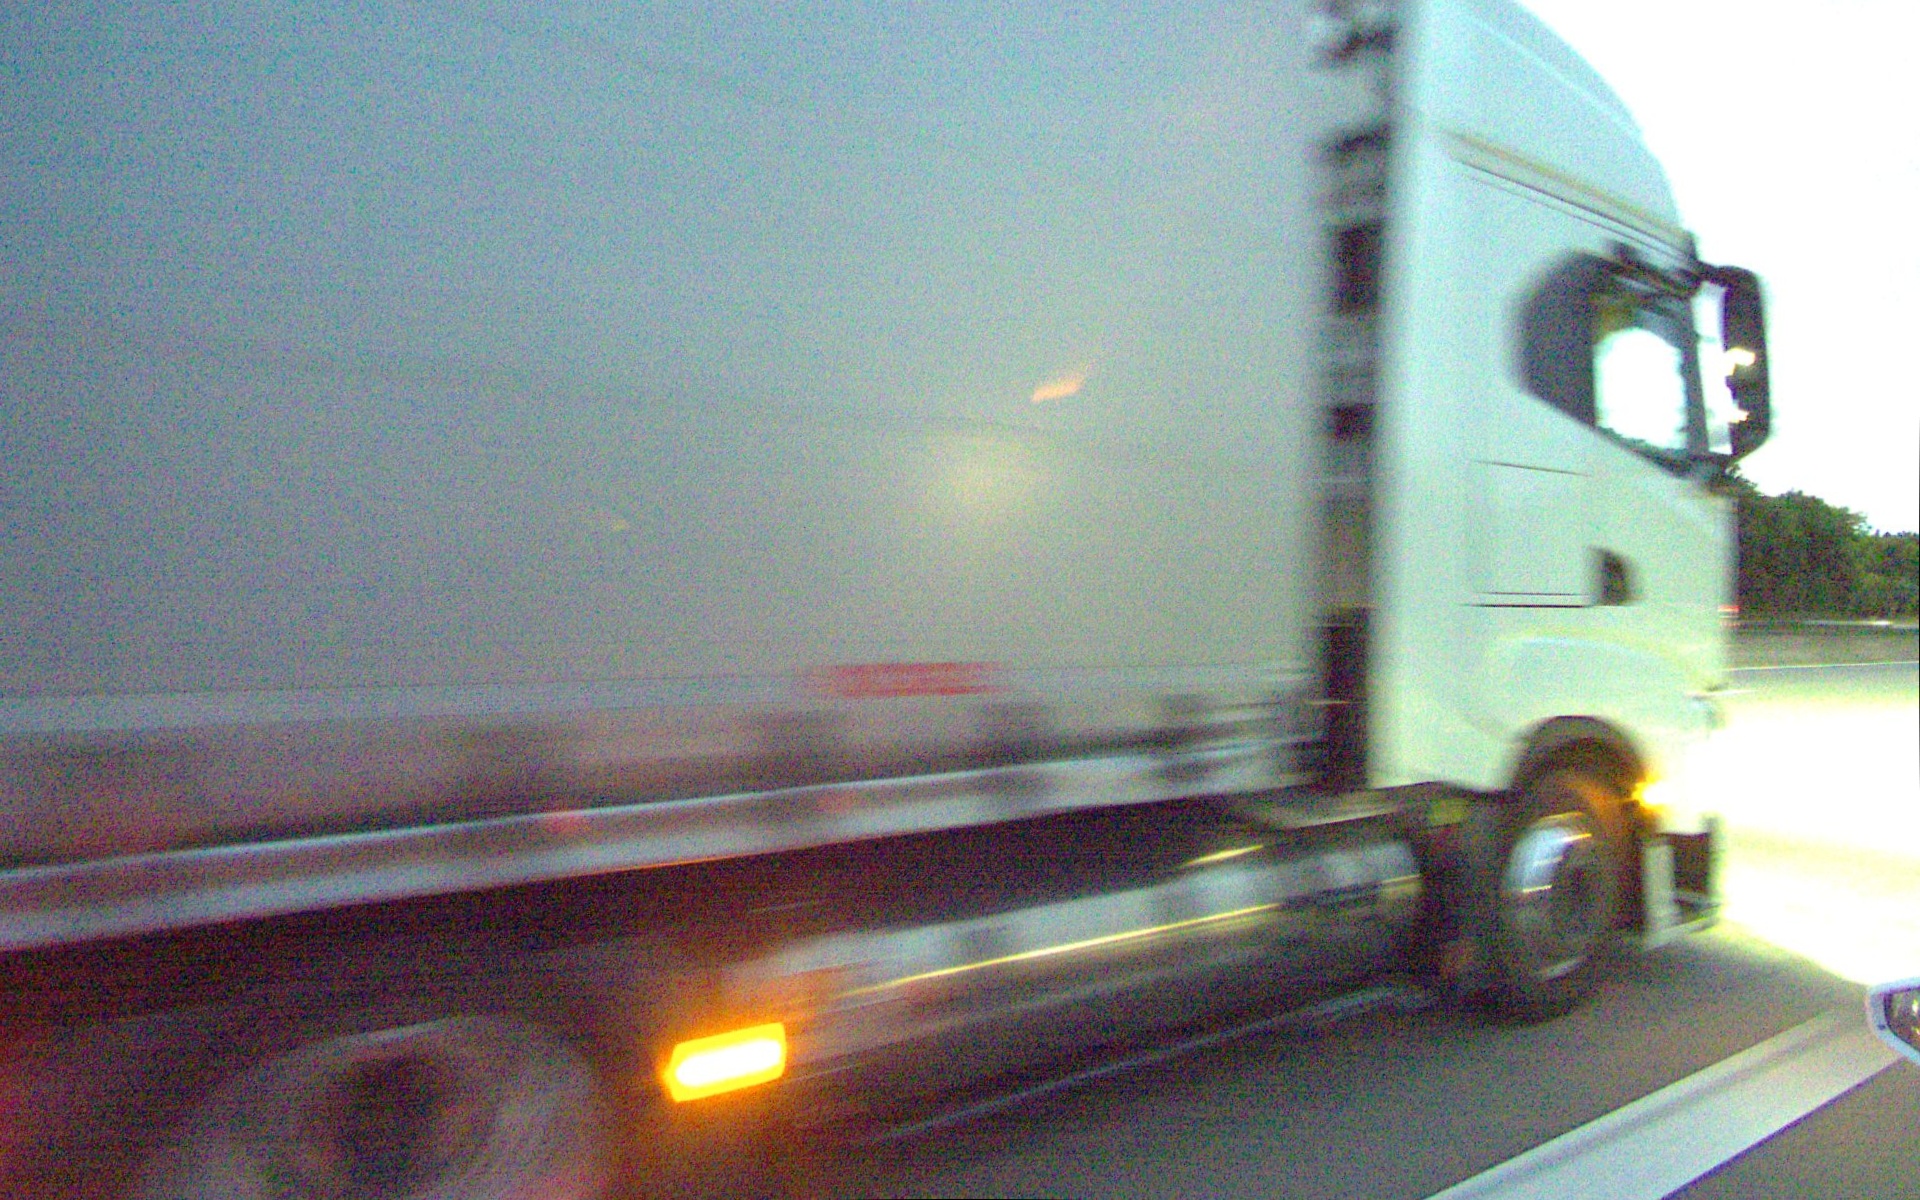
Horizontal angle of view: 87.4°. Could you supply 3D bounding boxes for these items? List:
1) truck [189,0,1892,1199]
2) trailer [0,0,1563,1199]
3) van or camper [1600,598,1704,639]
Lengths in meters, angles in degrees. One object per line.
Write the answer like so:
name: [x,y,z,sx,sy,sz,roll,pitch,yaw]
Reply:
truck: [0.864,-0.448,4.185,6.082,3.954,2.766,1,0,-30]
trailer: [-5.086,-0.565,0.656,14.646,3.967,2.760,1,0,-31]
van or camper: [37.606,1.005,54.549,6.423,2.040,2.363,2,0,-33]
